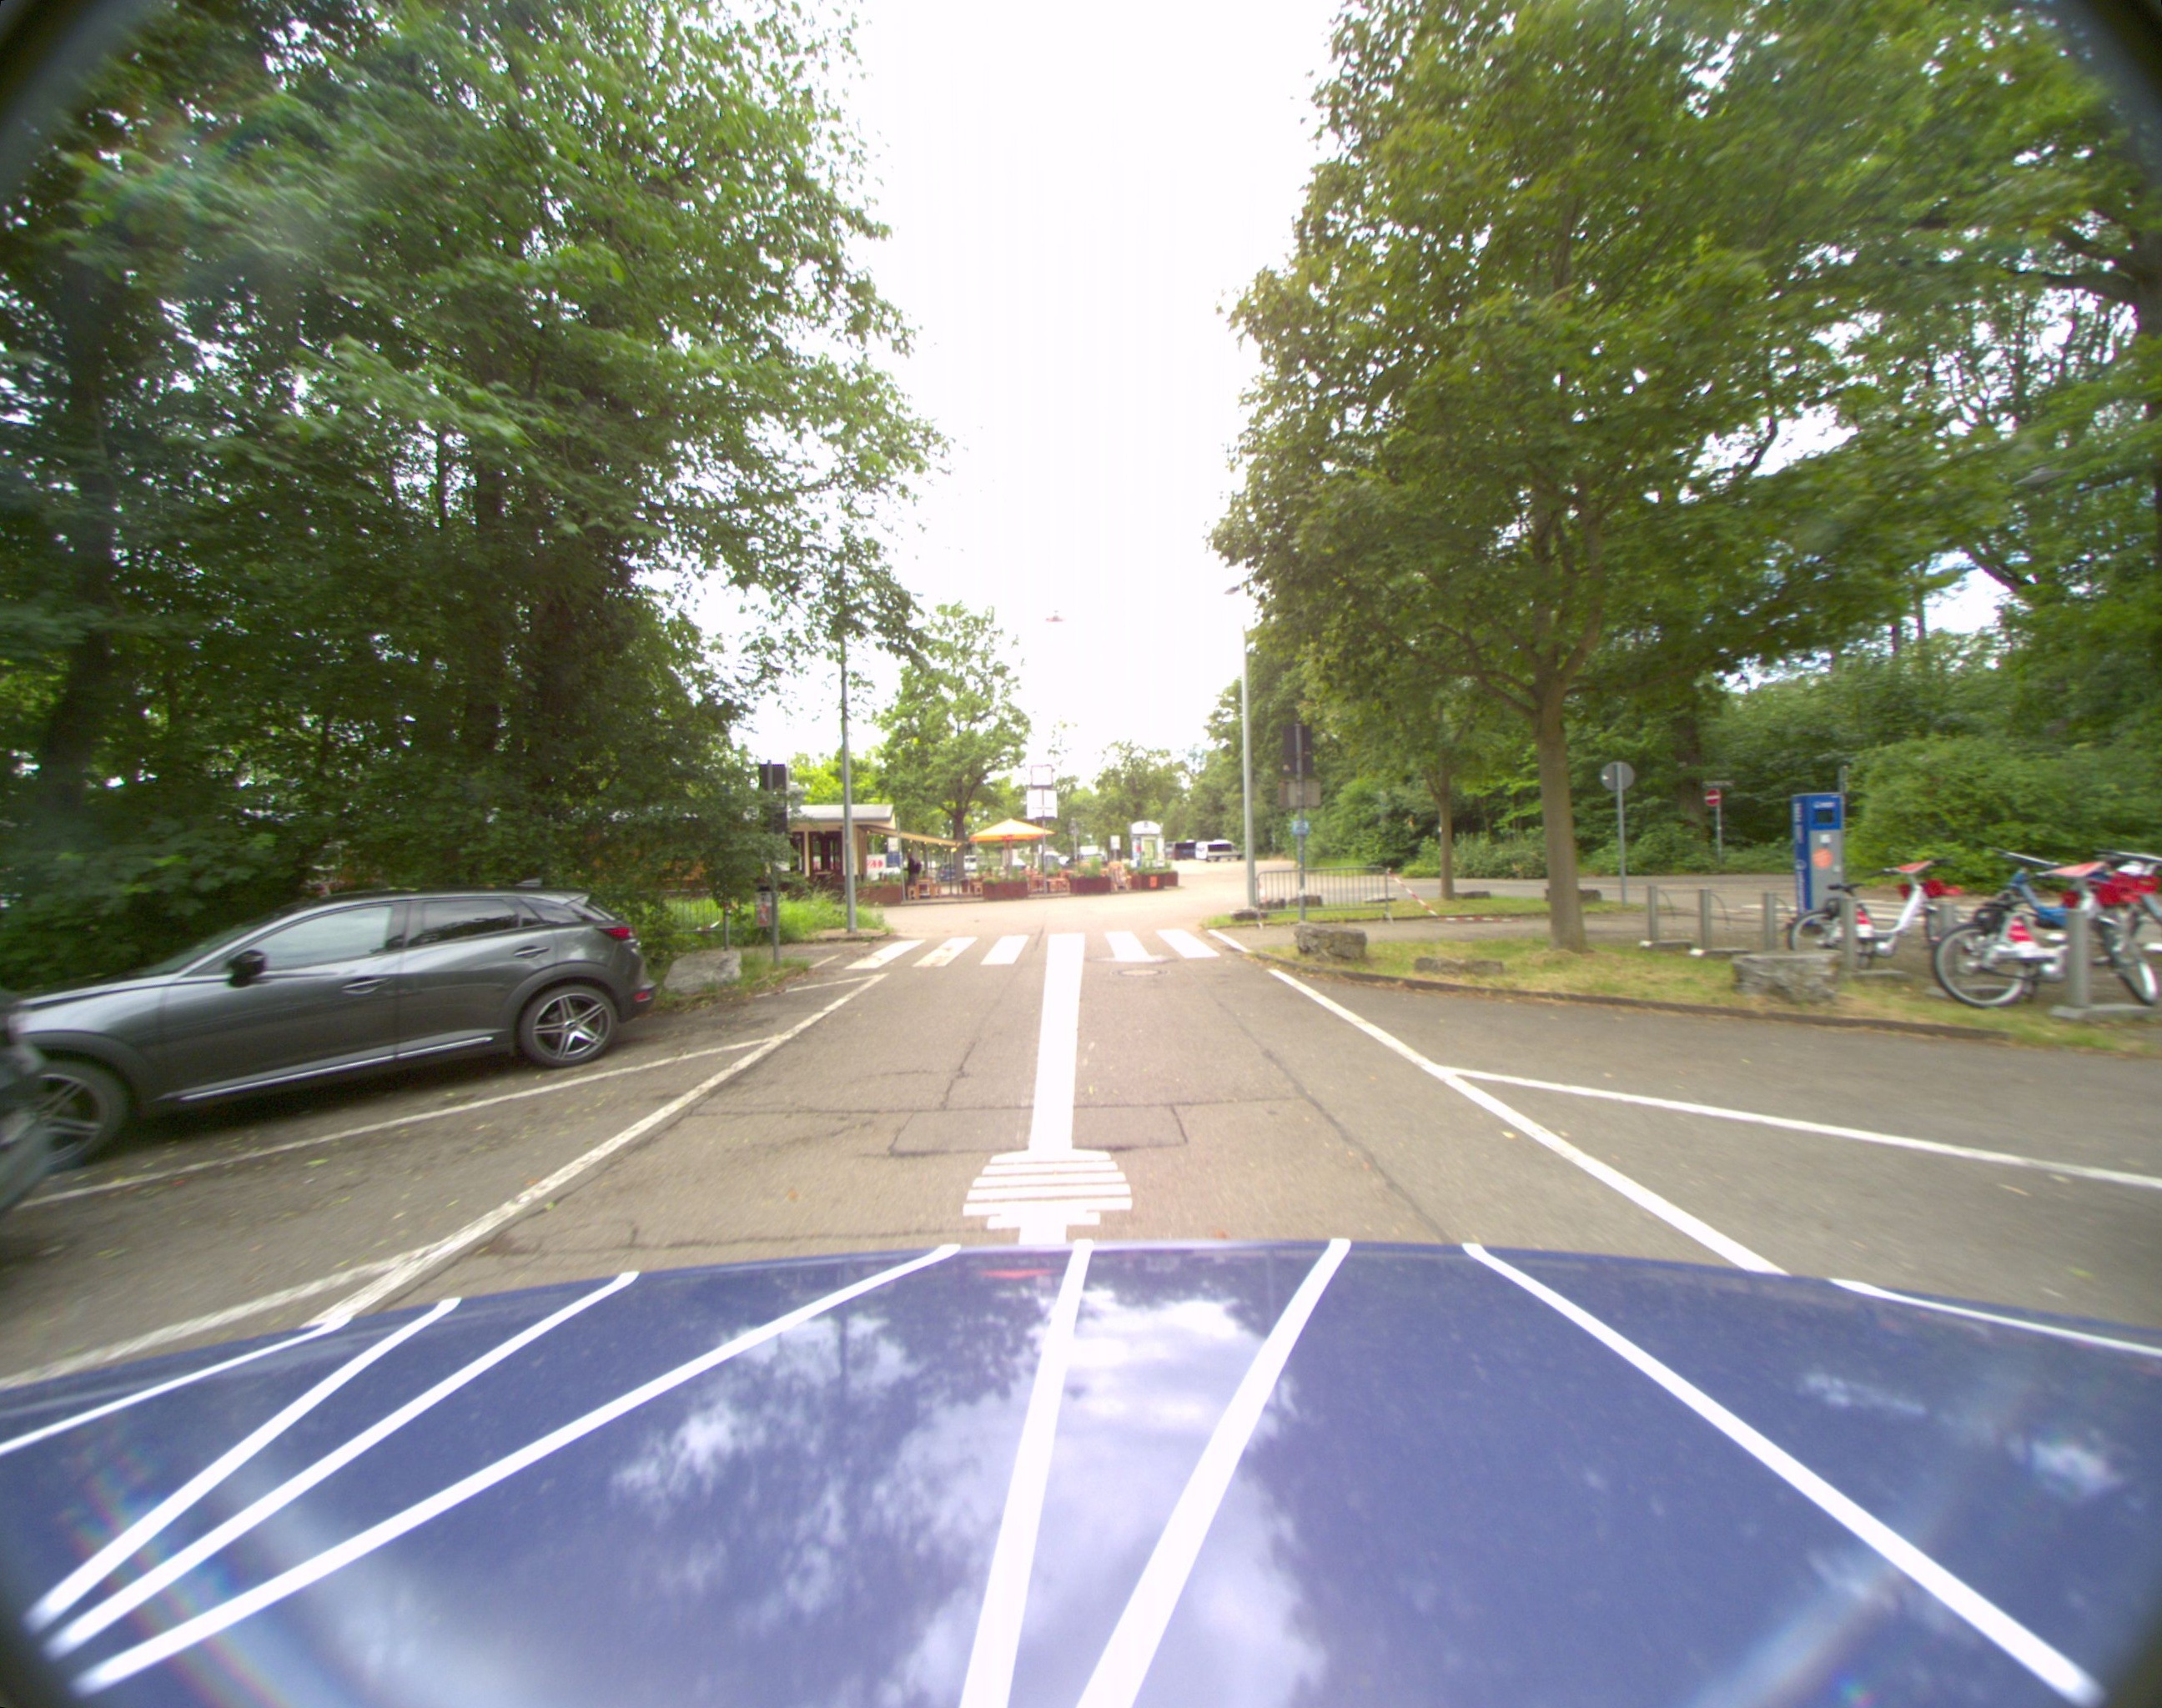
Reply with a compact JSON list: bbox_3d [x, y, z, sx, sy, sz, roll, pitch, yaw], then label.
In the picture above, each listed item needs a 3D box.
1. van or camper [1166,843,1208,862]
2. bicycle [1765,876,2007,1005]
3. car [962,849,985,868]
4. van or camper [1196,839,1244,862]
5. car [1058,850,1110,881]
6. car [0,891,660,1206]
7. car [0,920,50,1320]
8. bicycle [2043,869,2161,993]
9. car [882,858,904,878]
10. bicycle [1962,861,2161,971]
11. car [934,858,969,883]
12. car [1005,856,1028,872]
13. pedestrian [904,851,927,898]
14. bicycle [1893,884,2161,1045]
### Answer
[{"bbox_3d":[17.845,-0.235,127.648,7.352,2.833,2.199,-3,1,-35],"label":"van or camper"},{"bbox_3d":[7.580,0.807,7.199,1.683,1.105,0.483,-3,1,3],"label":"bicycle"},{"bbox_3d":[-12.596,0.536,88.677,1.879,2.027,4.584,-2,0,-16],"label":"car"},{"bbox_3d":[19.017,-0.563,103.899,7.353,2.833,2.063,-3,1,-40],"label":"van or camper"},{"bbox_3d":[0.133,0.658,45.306,1.937,1.660,4.339,-2,0,-15],"label":"car"},{"bbox_3d":[-5.571,1.160,5.738,1.695,1.483,3.799,-2,1,45],"label":"car"},{"bbox_3d":[-5.787,1.147,1.482,1.952,1.571,4.211,-2,1,43],"label":"car"},{"bbox_3d":[10.427,0.707,7.245,1.683,1.105,0.506,-2,1,6],"label":"bicycle"},{"bbox_3d":[-20.039,1.465,80.880,2.001,2.002,3.994,-2,0,-16],"label":"car"},{"bbox_3d":[10.827,0.665,8.269,1.695,1.105,0.483,-2,1,8],"label":"bicycle"},{"bbox_3d":[-8.716,1.084,51.018,2.001,1.543,3.995,-2,0,-13],"label":"car"},{"bbox_3d":[-7.651,1.200,89.812,1.879,1.769,4.290,-2,0,-16],"label":"car"},{"bbox_3d":[-6.654,0.816,30.574,0.750,1.820,0.709,-2,1,-8],"label":"pedestrian"},{"bbox_3d":[7.441,0.828,5.835,1.787,1.105,0.483,-3,1,3],"label":"bicycle"}]
